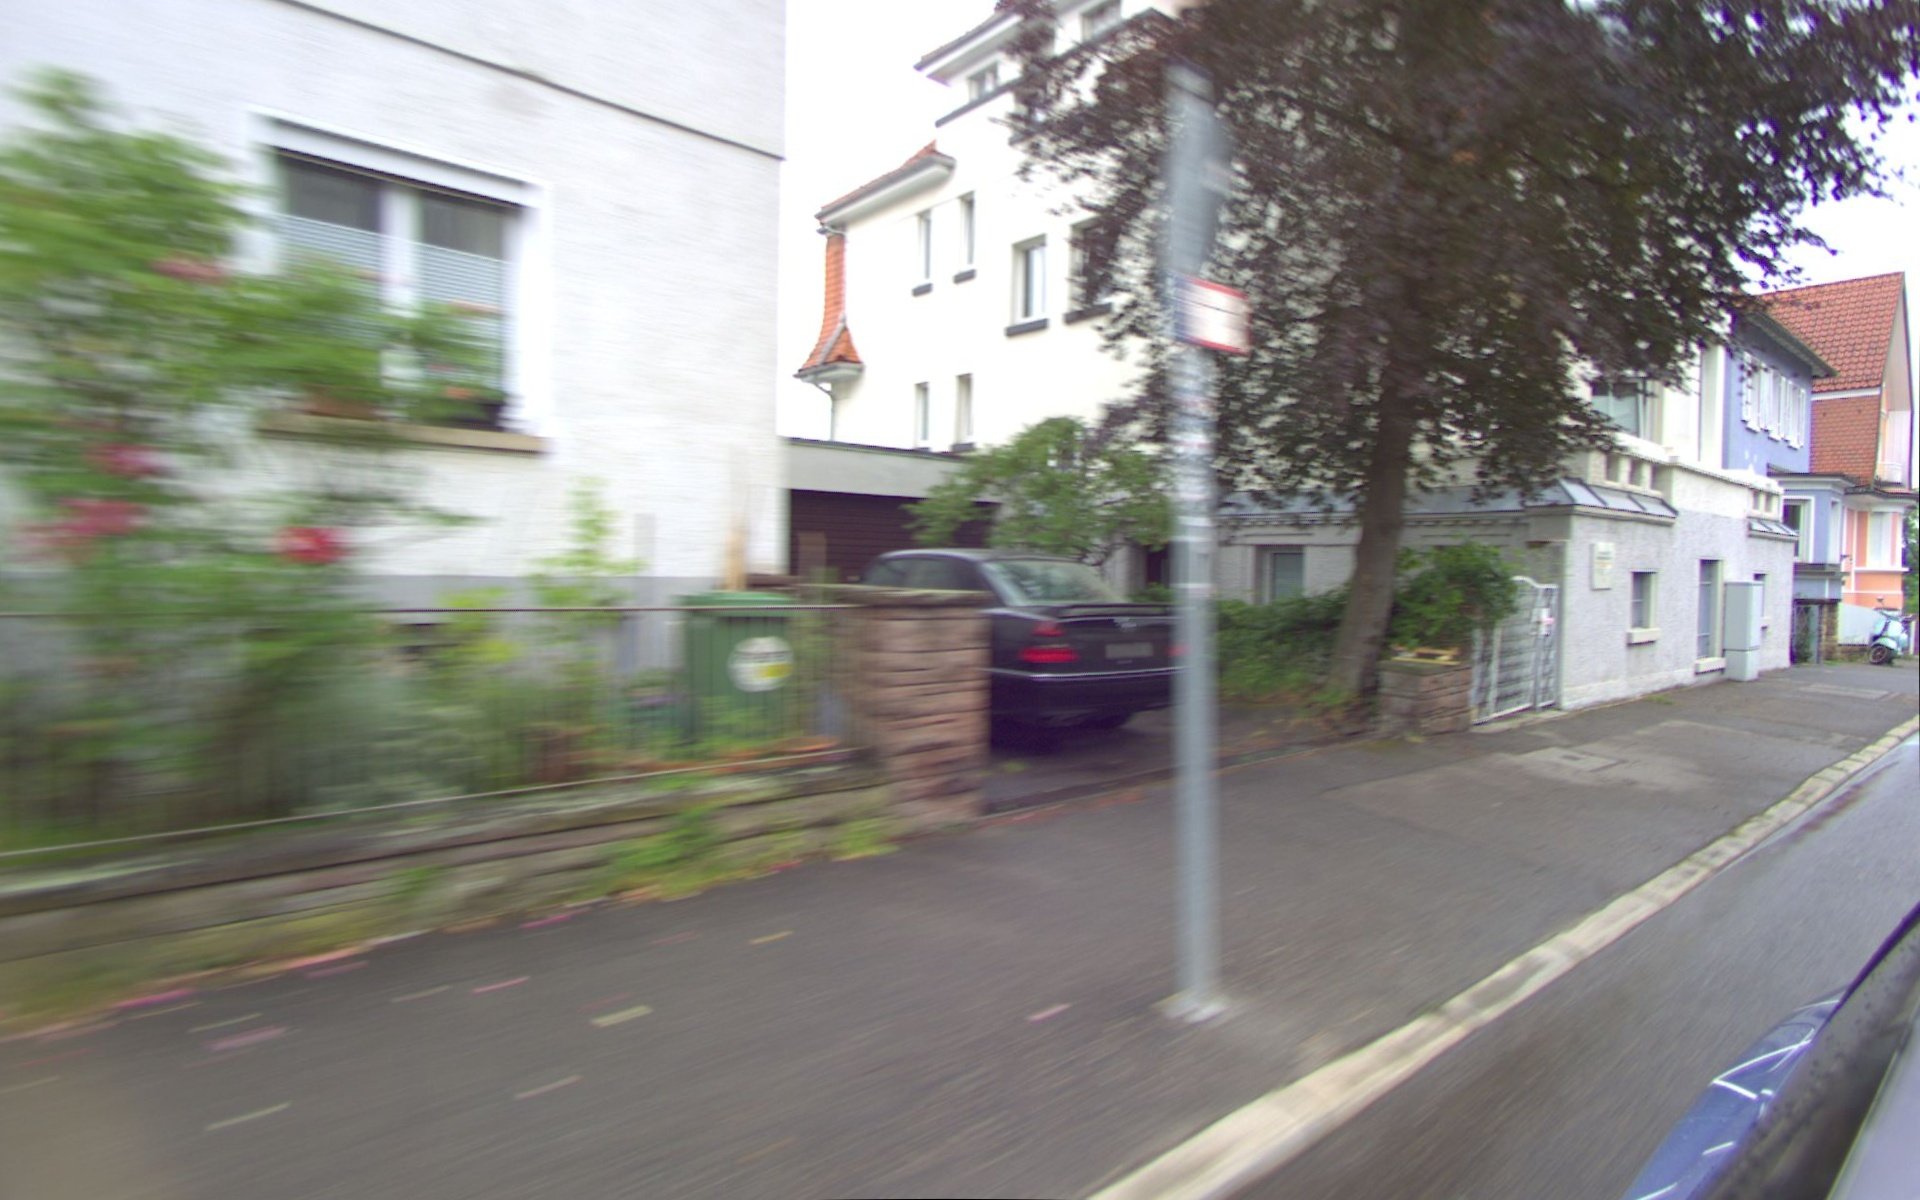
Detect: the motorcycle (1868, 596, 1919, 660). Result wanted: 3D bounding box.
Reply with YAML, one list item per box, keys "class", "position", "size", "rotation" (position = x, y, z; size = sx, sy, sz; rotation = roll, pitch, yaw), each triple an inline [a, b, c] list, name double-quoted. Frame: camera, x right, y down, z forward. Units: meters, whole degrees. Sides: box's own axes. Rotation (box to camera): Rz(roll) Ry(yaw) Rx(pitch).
- class: "motorcycle"
  position: [20.582, 0.607, 22.002]
  size: [2.113, 1.240, 0.696]
  rotation: [2, 6, -36]

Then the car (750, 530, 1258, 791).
- class: "car"
  position: [0.093, 0.265, 8.263]
  size: [1.941, 1.503, 4.160]
  rotation: [-4, 4, -36]
